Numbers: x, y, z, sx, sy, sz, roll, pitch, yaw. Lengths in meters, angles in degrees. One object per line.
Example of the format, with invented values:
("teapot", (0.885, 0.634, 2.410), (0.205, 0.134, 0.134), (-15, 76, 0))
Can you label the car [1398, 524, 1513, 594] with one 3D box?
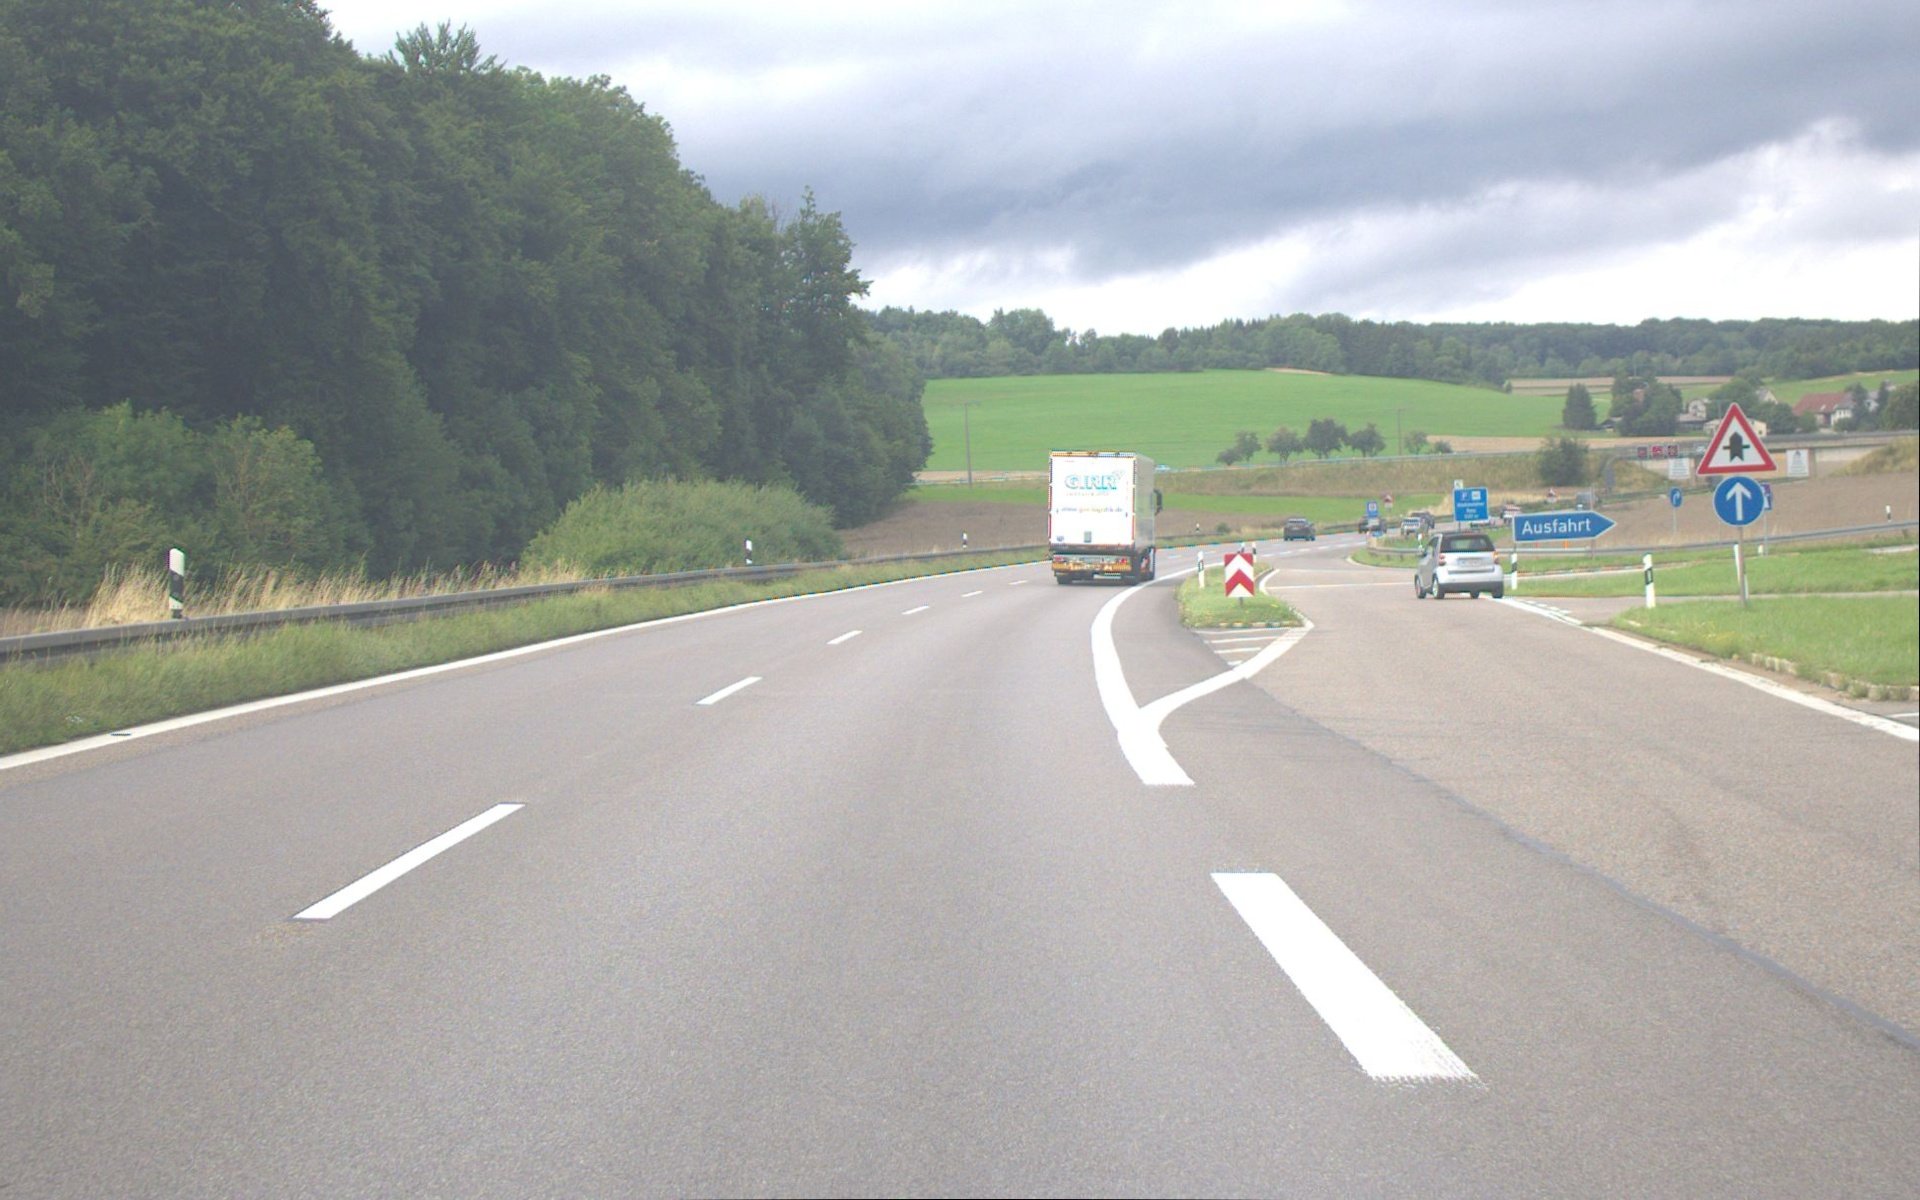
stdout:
("car", (11.530, -0.981, 80.236), (1.777, 1.546, 4.001), (-1, 2, -5))

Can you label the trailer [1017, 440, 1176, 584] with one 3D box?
("trailer", (4.429, -2.760, 107.548), (3.806, 4.160, 14.805), (1, 2, 7))

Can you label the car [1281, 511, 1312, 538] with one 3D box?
("car", (24.690, -5.530, 252.197), (1.903, 1.789, 3.998), (0, 0, 10))

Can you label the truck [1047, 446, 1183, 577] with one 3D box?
("truck", (5.236, -2.931, 114.379), (3.789, 4.117, 8.263), (1, 2, 7))
